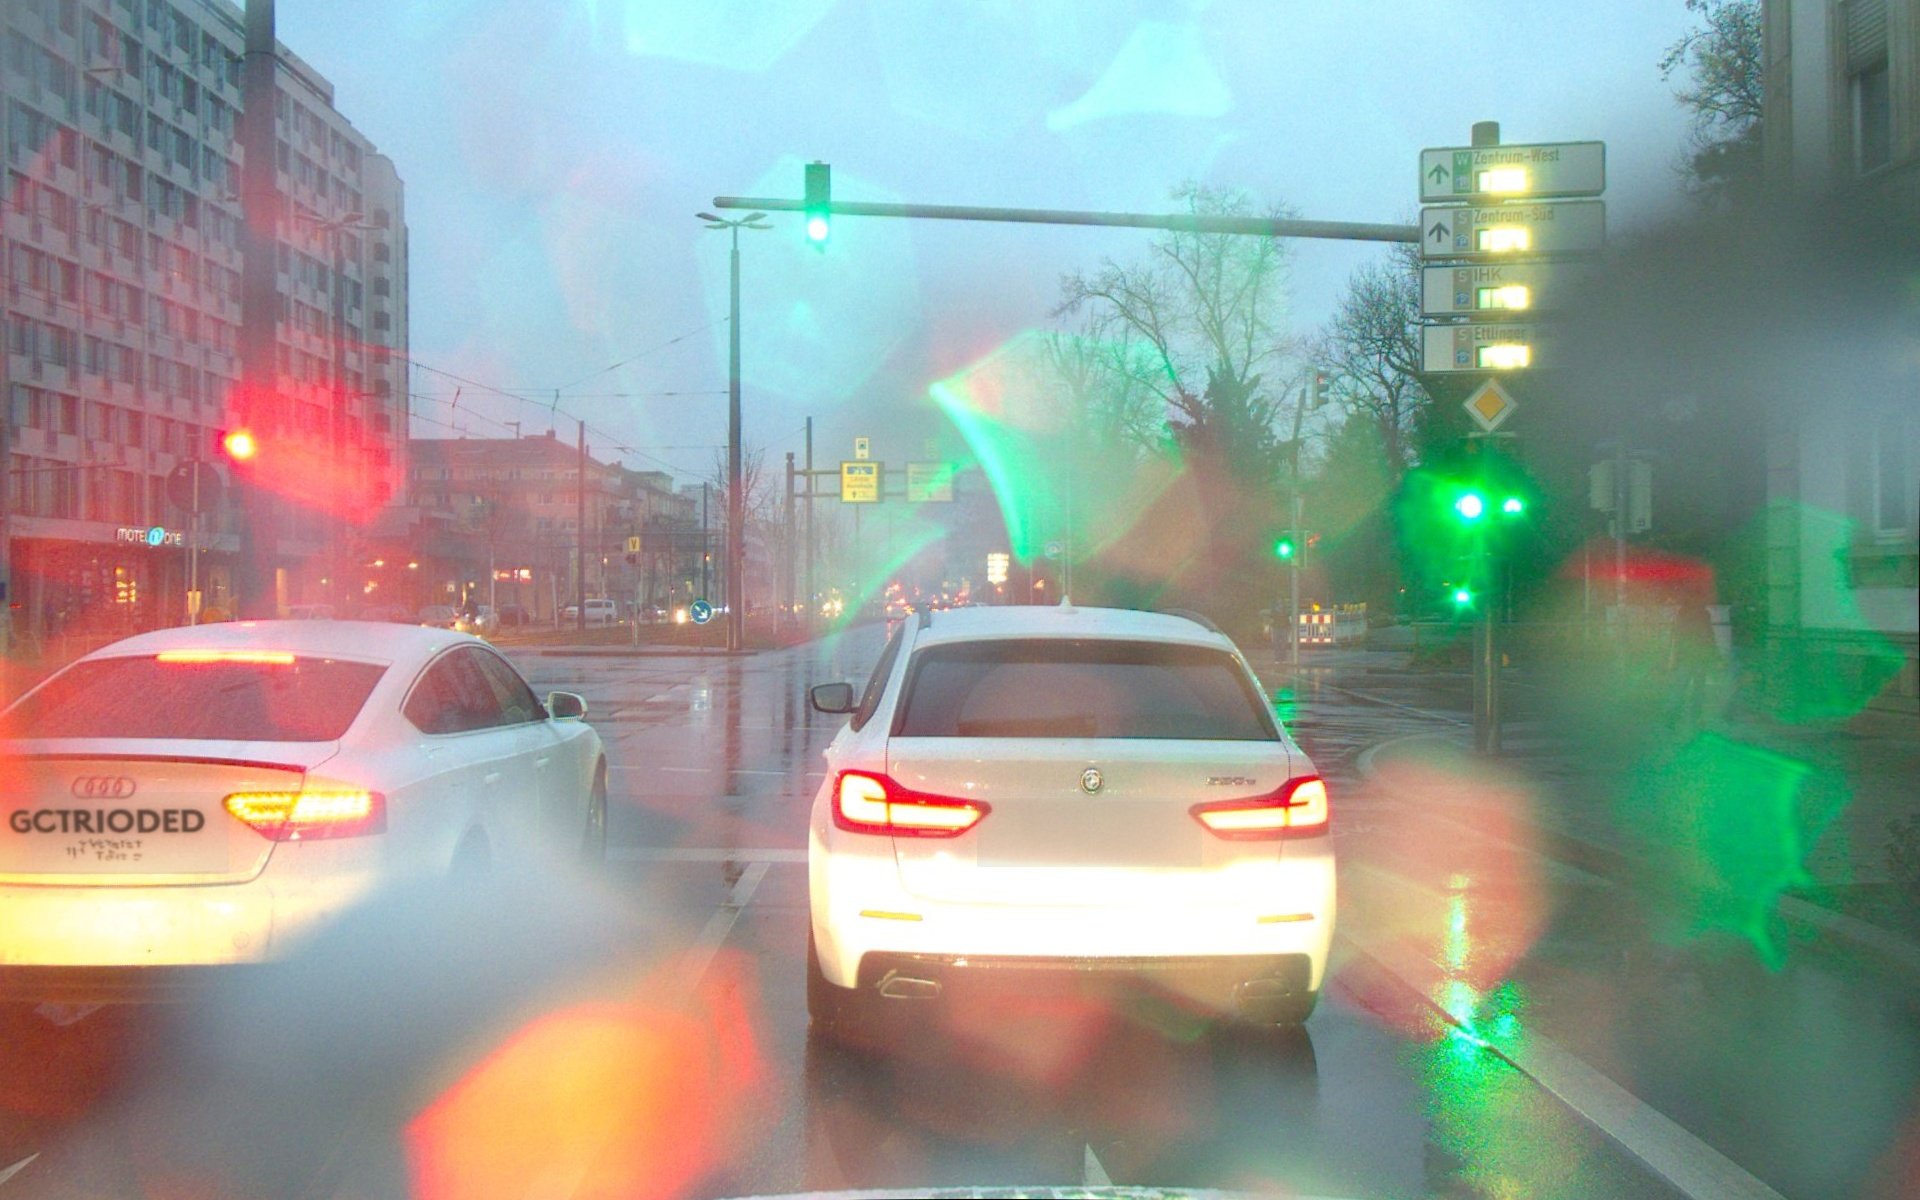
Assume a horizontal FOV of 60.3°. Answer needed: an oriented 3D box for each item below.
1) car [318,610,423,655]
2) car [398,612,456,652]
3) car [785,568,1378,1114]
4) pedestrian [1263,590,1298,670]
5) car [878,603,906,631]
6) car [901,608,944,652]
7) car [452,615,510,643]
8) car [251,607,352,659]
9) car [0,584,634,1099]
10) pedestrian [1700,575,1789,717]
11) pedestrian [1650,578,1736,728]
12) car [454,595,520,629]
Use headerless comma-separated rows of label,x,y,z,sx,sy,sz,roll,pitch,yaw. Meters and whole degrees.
car,-20.961,1.124,59.028,1.953,1.487,5.094,1,0,-1
car,-21.656,1.286,67.362,1.960,1.487,5.074,1,0,-15
car,0.262,0.719,6.968,1.724,1.580,4.249,1,0,-3
pedestrian,7.755,0.726,40.066,0.659,1.912,0.715,1,-1,-2
car,-5.110,1.262,124.563,1.953,2.049,3.999,1,0,-1
car,-1.766,1.405,78.938,1.953,2.049,3.999,1,0,-1
car,-26.986,1.624,93.313,1.954,1.487,5.092,1,0,-3
car,-24.097,1.174,60.704,1.843,1.821,4.598,1,0,0
car,-2.568,0.713,6.944,1.724,1.495,4.249,1,0,-3
pedestrian,9.467,0.537,19.951,0.769,1.661,1.007,0,-1,38
pedestrian,8.181,0.577,18.488,0.765,1.607,1.011,1,-1,19
car,-21.969,0.556,76.996,1.954,1.487,5.090,1,0,-5
